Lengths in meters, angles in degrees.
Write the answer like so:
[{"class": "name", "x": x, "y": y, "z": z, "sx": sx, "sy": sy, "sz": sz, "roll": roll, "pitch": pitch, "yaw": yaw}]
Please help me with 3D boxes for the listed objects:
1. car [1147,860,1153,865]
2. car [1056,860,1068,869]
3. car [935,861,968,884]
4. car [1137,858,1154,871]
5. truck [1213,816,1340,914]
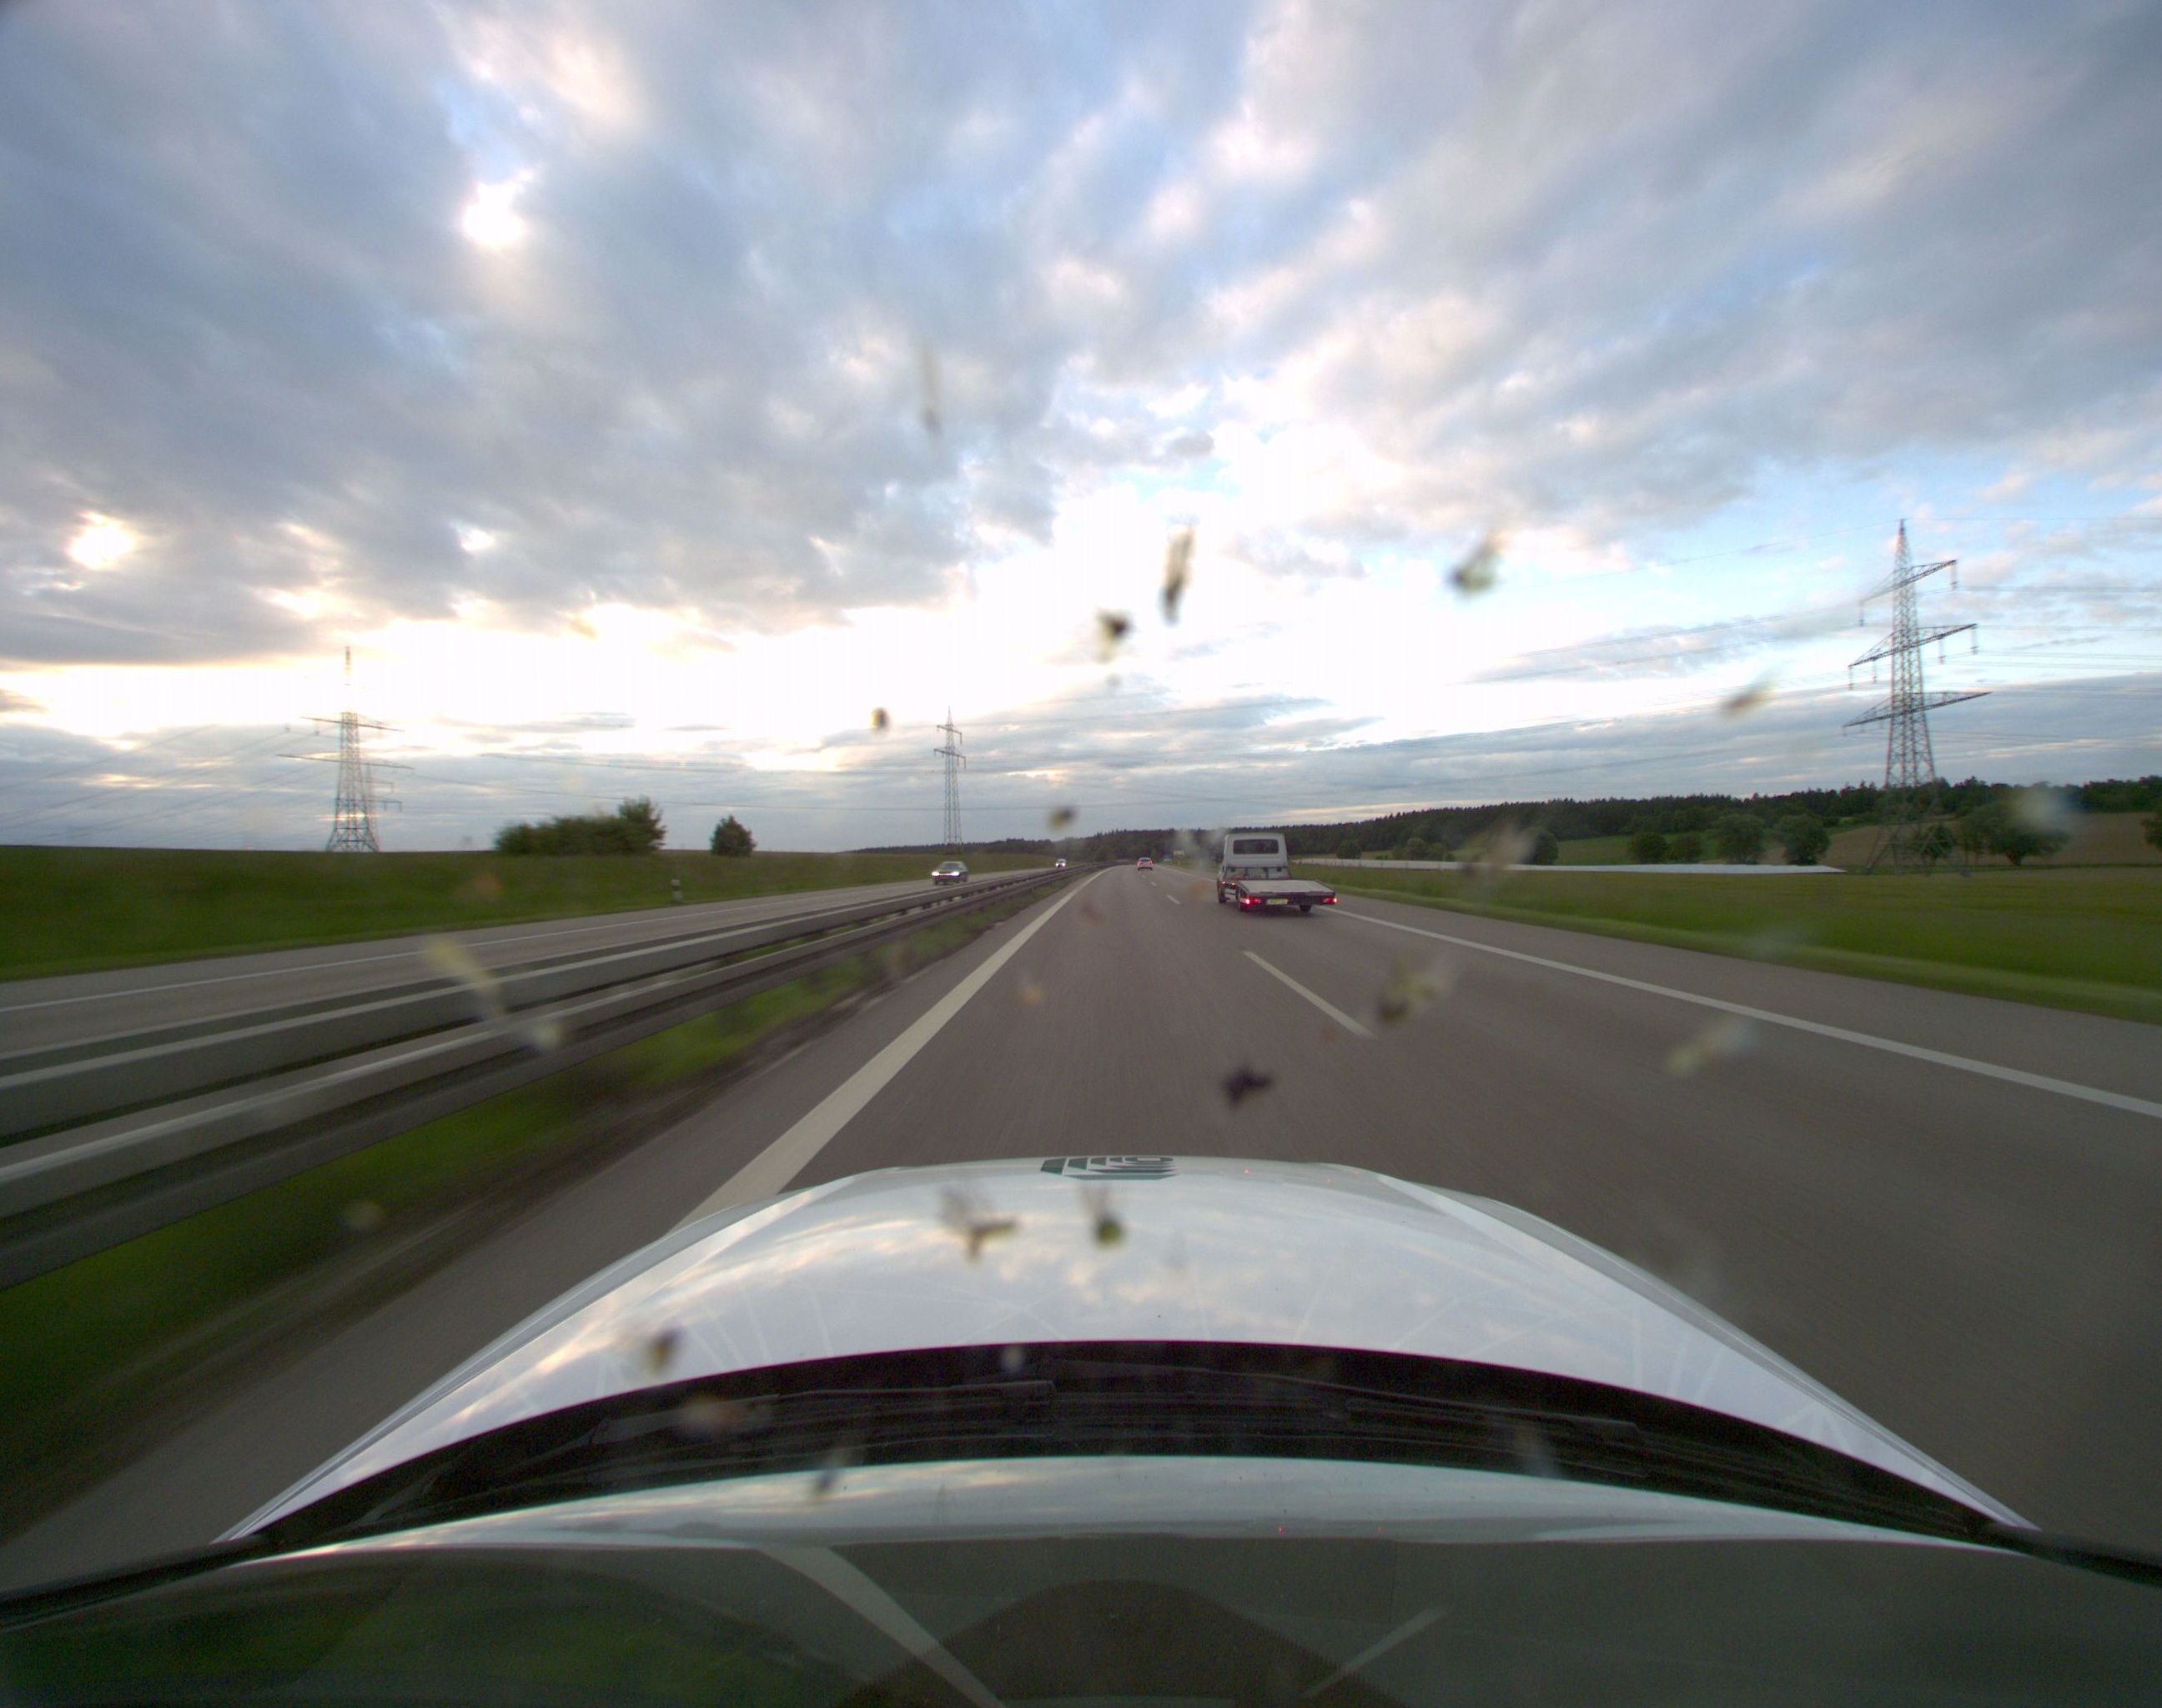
[{"class": "car", "x": 22.226, "y": 2.790, "z": 261.203, "sx": 1.942, "sy": 1.731, "sz": 4.086, "roll": 0, "pitch": 0, "yaw": 6}, {"class": "car", "x": -3.681, "y": 2.002, "z": 157.445, "sx": 1.753, "sy": 1.802, "sz": 4.998, "roll": -2, "pitch": 0, "yaw": 3}, {"class": "car", "x": -9.551, "y": 1.333, "z": 60.334, "sx": 1.692, "sy": 1.664, "sz": 4.464, "roll": 0, "pitch": 0, "yaw": 1}, {"class": "car", "x": 7.691, "y": 1.204, "z": 97.161, "sx": 1.943, "sy": 1.531, "sz": 4.083, "roll": 0, "pitch": 0, "yaw": 3}, {"class": "truck", "x": 5.327, "y": 0.280, "z": 23.467, "sx": 2.163, "sy": 2.360, "sz": 7.701, "roll": 0, "pitch": 0, "yaw": 3}]
